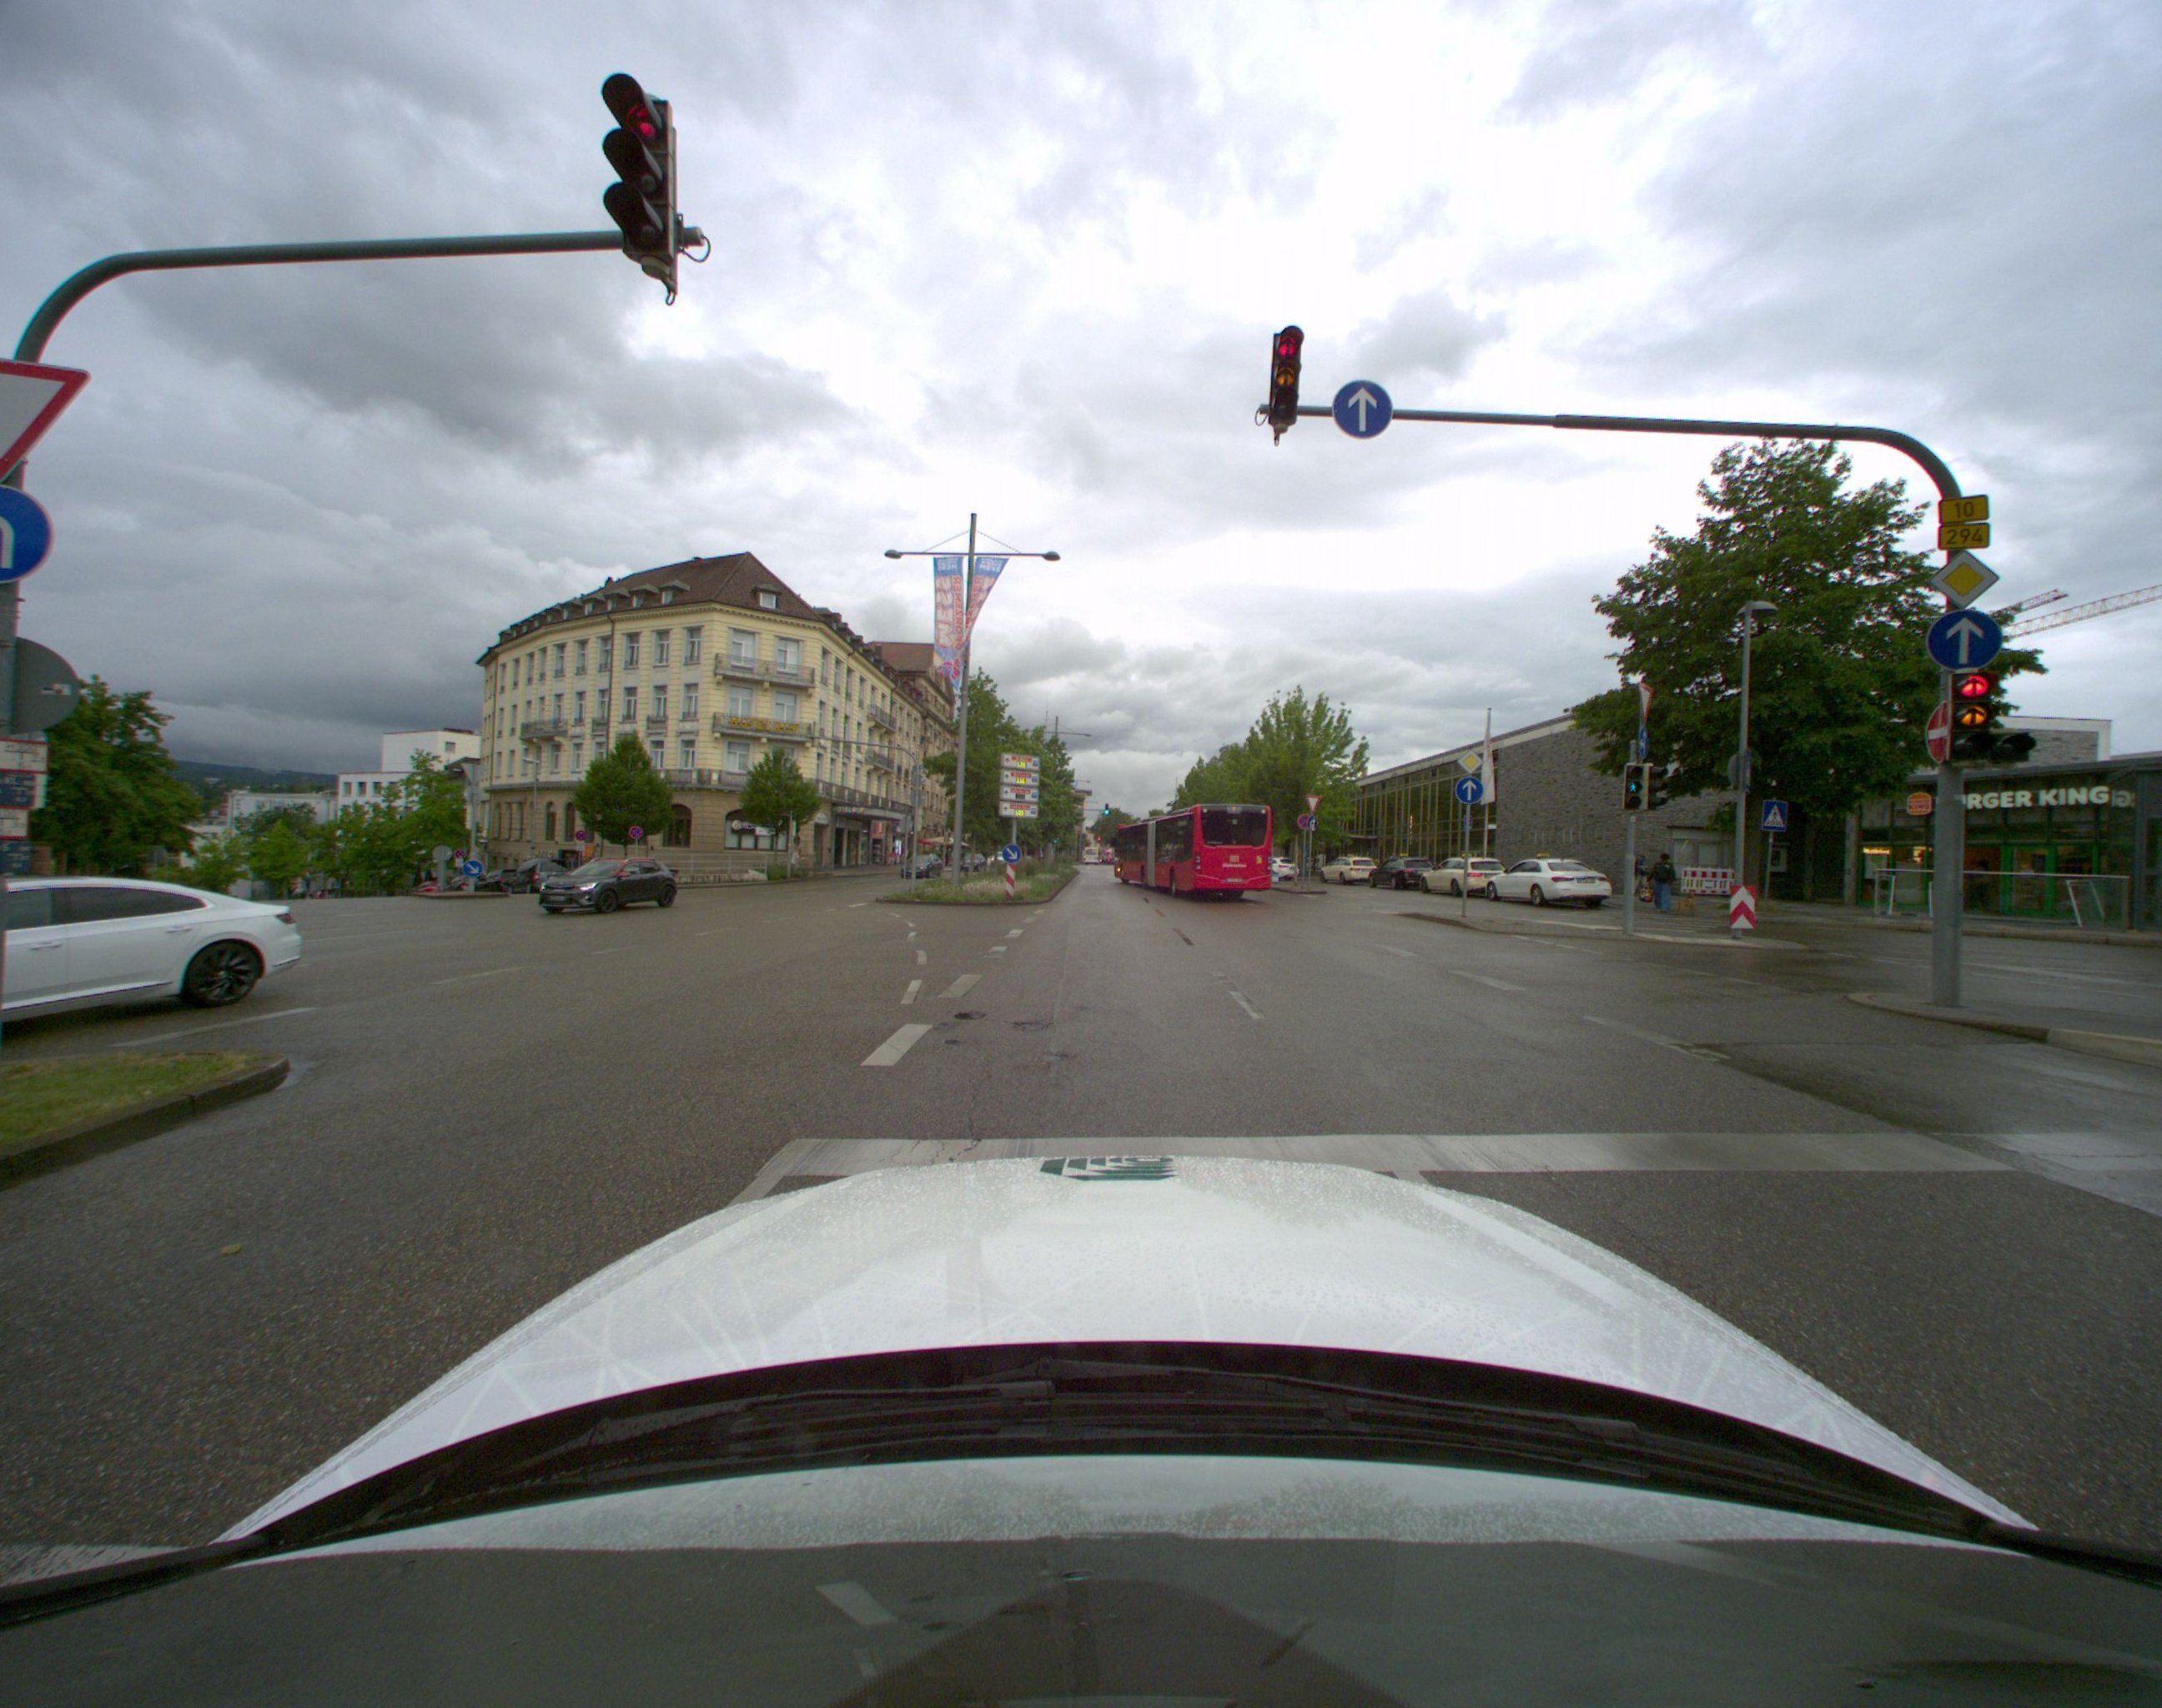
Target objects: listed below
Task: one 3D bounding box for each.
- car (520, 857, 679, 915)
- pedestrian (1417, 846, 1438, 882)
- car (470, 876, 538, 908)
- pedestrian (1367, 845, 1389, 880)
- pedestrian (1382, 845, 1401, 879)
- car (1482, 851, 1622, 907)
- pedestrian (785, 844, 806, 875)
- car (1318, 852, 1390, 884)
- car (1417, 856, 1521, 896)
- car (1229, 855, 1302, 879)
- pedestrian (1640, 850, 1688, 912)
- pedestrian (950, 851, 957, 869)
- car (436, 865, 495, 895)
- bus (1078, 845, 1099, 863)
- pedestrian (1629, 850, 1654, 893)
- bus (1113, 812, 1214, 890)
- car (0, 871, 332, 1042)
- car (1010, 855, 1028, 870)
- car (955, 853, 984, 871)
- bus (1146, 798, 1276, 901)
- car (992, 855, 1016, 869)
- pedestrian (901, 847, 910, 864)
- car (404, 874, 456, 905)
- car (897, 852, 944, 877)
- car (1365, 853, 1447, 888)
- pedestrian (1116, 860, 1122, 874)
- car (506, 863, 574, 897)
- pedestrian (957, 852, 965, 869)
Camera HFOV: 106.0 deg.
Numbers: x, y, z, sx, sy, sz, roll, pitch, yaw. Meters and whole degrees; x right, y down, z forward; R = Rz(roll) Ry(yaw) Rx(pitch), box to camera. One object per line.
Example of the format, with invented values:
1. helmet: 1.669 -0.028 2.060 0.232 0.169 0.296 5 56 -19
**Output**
1. car: -13.574 0.841 23.256 1.620 1.476 4.038 0 0 11
2. pedestrian: 19.817 0.562 46.610 0.808 2.014 0.921 0 0 1
3. car: -31.968 2.075 45.094 3.948 1.640 2.013 -1 -1 37
4. pedestrian: 17.286 0.479 47.355 0.814 2.014 0.914 1 0 -22
5. pedestrian: 18.781 0.486 49.273 0.808 2.014 0.922 0 0 2
6. car: 14.646 0.724 25.651 1.768 1.589 4.615 0 0 0
7. pedestrian: -17.248 0.333 49.162 0.860 1.878 1.023 0 0 1
8. car: 14.682 0.717 44.091 1.990 1.600 4.814 0 0 -5
9. car: 14.786 0.790 31.370 1.840 1.452 4.666 0 0 0
10. car: 11.486 0.789 50.939 1.788 1.385 4.318 0 0 -39
11. pedestrian: 15.986 0.727 22.337 0.805 1.674 0.713 0 0 1
12. pedestrian: -12.250 0.588 78.474 0.573 1.732 0.609 0 0 1
13. car: -36.312 1.492 48.027 3.864 1.640 1.805 0 0 37
14. bus: 1.482 0.002 156.079 3.747 3.209 15.526 0 0 1
15. pedestrian: 21.336 0.655 30.991 0.558 1.633 0.566 0 0 0
16. bus: 3.551 -0.110 38.162 2.739 3.174 10.174 0 0 -6
17. car: -9.924 0.897 7.326 1.717 1.381 4.863 0 0 3
18. car: -7.320 1.031 96.780 1.989 1.758 3.995 0 0 -4
19. car: -9.129 0.634 66.762 1.749 1.369 4.060 0 1 1
20. bus: 4.384 -0.136 29.318 2.739 3.174 8.105 0 0 -5
21. car: -7.812 0.821 83.264 1.747 1.369 4.065 0 0 4
22. pedestrian: -16.169 0.144 75.128 0.666 1.510 0.513 0 -1 -36
23. car: -41.188 2.209 51.487 3.575 1.812 1.788 0 0 38
24. car: -9.806 0.641 50.083 1.747 1.441 4.065 0 0 4
25. car: 14.884 0.714 37.596 1.907 1.524 4.741 0 0 0
26. pedestrian: 4.596 1.585 98.788 0.754 1.701 0.561 0 0 8
27. car: -27.101 1.271 40.765 3.949 1.568 1.812 0 0 41
28. pedestrian: -11.596 0.626 78.491 0.672 1.701 0.634 0 0 1
